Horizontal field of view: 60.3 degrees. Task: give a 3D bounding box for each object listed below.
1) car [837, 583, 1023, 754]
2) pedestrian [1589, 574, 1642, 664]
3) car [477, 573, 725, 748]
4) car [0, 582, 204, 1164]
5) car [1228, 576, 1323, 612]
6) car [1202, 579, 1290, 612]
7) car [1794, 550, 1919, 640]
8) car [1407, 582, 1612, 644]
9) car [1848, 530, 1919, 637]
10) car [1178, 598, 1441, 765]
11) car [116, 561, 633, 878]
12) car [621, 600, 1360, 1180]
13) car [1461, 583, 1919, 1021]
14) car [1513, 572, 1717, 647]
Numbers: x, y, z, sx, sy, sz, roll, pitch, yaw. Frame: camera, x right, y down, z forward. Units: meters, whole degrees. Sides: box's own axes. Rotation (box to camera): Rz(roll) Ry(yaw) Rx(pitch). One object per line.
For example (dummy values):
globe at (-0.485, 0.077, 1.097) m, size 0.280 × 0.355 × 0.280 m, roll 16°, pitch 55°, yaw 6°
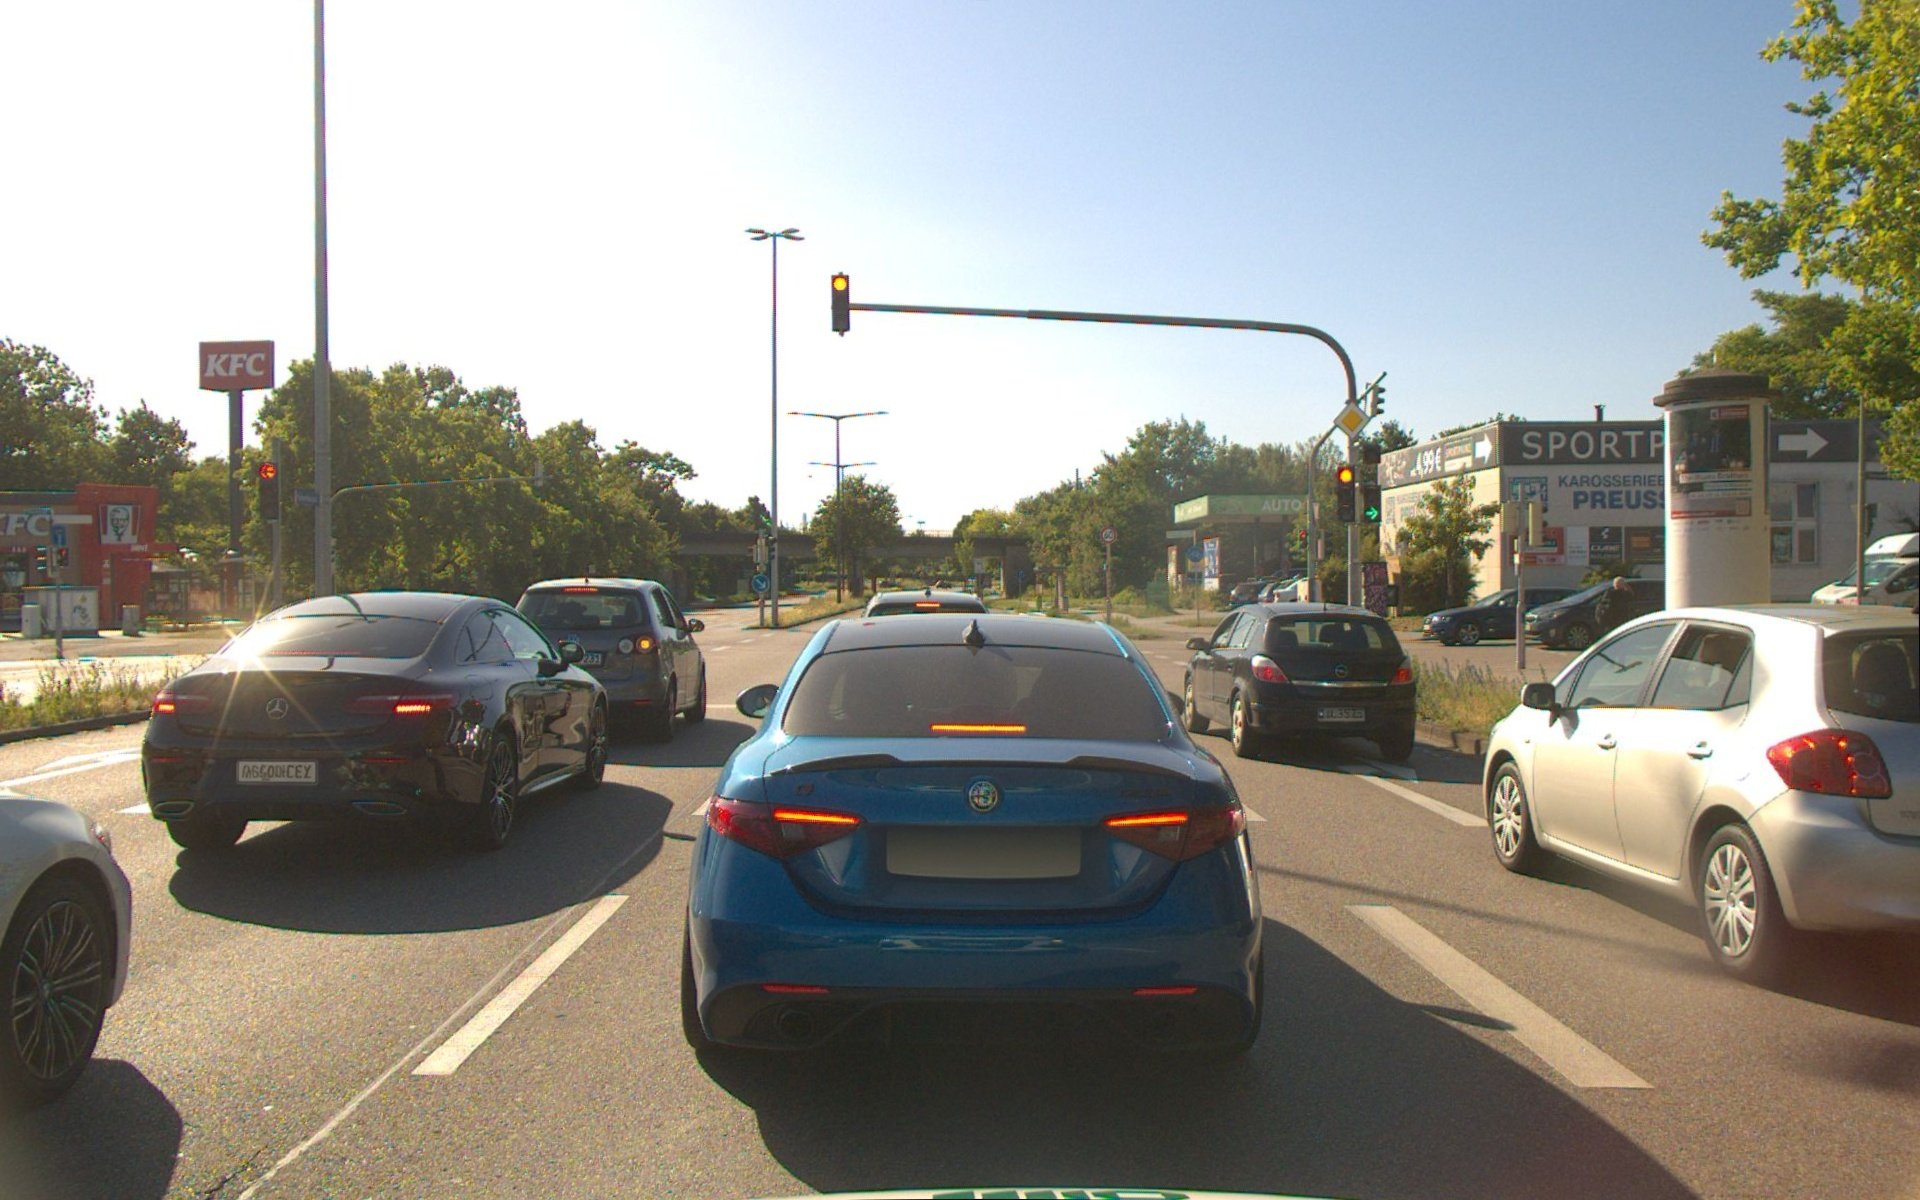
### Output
car at (-0.247, 0.635, 16.915) m, size 1.669 × 1.523 × 3.719 m, roll 1°, pitch 0°, yaw 1°
pedestrian at (12.659, 0.362, 31.947) m, size 0.800 × 1.698 × 0.514 m, roll 1°, pitch -1°, yaw -1°
car at (-3.596, 0.567, 17.339) m, size 1.776 × 1.578 × 4.351 m, roll 1°, pitch 0°, yaw -2°
car at (-3.374, 0.713, 3.141) m, size 1.775 × 1.512 × 4.596 m, roll 0°, pitch 0°, yaw 0°
car at (14.243, -0.261, 74.899) m, size 3.905 × 1.579 × 2.000 m, roll 1°, pitch 0°, yaw 0°
car at (14.411, -0.232, 83.287) m, size 3.925 × 1.579 × 1.990 m, roll 1°, pitch 0°, yaw -18°
car at (22.926, -0.134, 39.718) m, size 4.854 × 2.071 × 1.880 m, roll -1°, pitch 0°, yaw -2°
car at (14.169, 0.342, 42.792) m, size 4.722 × 1.493 × 1.758 m, roll 1°, pitch 0°, yaw -3°
car at (26.585, -0.469, 43.165) m, size 5.715 × 2.719 × 2.000 m, roll -1°, pitch -1°, yaw 0°
car at (3.429, 0.729, 17.030) m, size 1.699 × 1.467 × 4.370 m, roll 1°, pitch 0°, yaw -1°
car at (-3.380, 0.588, 10.567) m, size 1.775 × 1.578 × 4.542 m, roll 1°, pitch 0°, yaw -1°
car at (0.106, 0.750, 6.093) m, size 1.870 × 1.447 × 3.719 m, roll 1°, pitch 0°, yaw 1°
car at (3.959, 0.718, 7.995) m, size 1.747 × 1.564 × 4.107 m, roll 1°, pitch 0°, yaw -1°
car at (15.603, 0.229, 39.500) m, size 4.219 × 1.678 × 1.637 m, roll 1°, pitch 0°, yaw -2°
